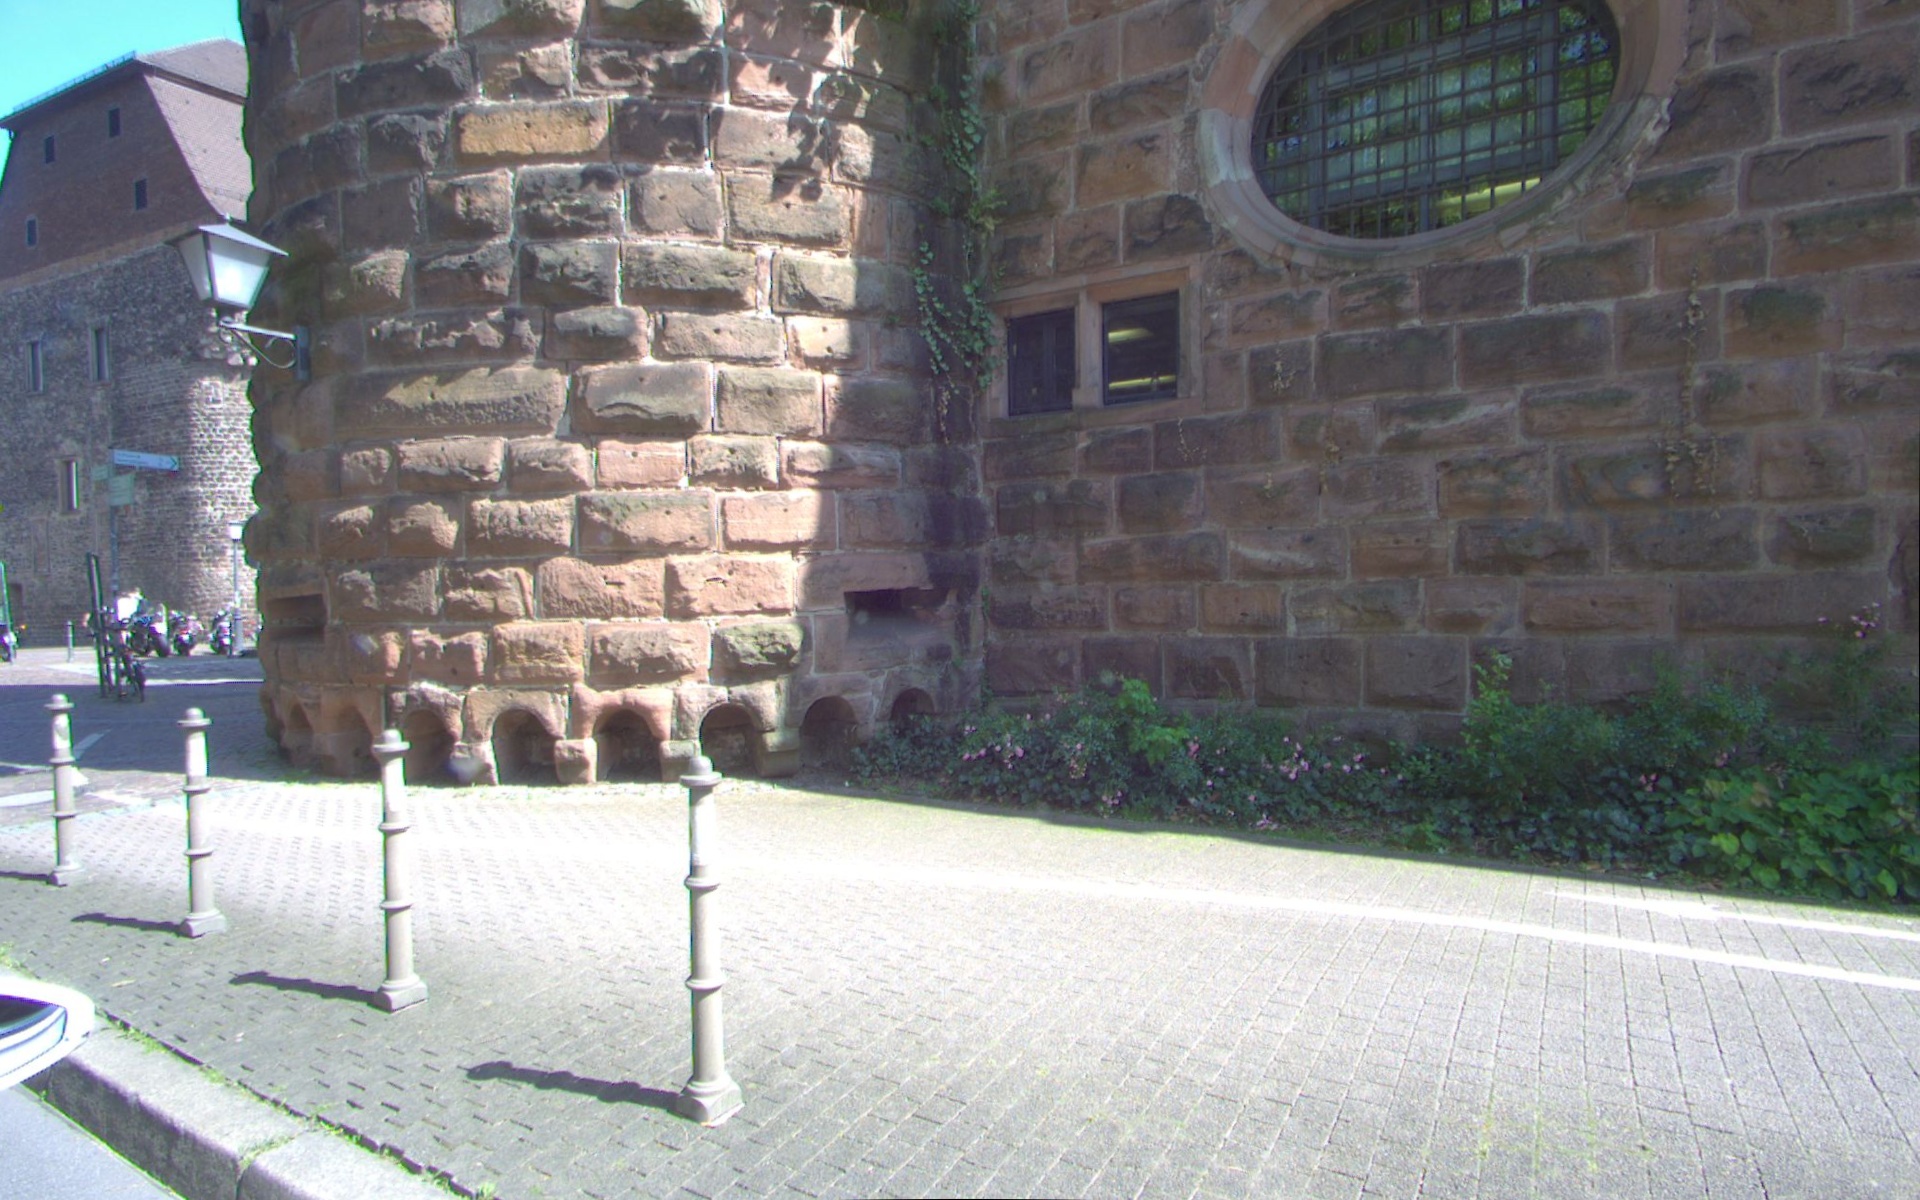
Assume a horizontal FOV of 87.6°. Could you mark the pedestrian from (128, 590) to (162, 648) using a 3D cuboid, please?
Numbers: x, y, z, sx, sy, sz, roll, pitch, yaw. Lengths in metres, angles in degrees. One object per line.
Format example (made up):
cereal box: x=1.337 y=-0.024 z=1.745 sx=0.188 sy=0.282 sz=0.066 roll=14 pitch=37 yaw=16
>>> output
pedestrian: x=-27.618 y=0.648 z=33.942 sx=0.809 sy=1.944 sz=0.667 roll=-1 pitch=-1 yaw=31

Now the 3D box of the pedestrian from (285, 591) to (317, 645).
pedestrian: x=-20.804 y=0.551 z=31.641 sx=0.799 sy=1.684 sz=0.652 roll=-1 pitch=1 yaw=-34

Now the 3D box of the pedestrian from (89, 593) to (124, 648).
pedestrian: x=-28.631 y=0.675 z=33.594 sx=0.835 sy=1.826 sz=0.651 roll=0 pitch=0 yaw=31

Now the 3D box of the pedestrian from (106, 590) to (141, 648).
pedestrian: x=-27.684 y=0.637 z=33.140 sx=0.809 sy=1.908 sz=0.667 roll=-1 pitch=-1 yaw=31

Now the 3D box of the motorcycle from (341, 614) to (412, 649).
motorcycle: x=-18.175 y=0.981 z=31.225 sx=0.474 sy=1.067 sz=1.858 roll=-1 pitch=-2 yaw=40

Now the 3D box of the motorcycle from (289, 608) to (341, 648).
motorcycle: x=-18.095 y=0.796 z=28.074 sx=1.814 sy=1.087 sz=0.506 roll=-1 pitch=-2 yaw=32

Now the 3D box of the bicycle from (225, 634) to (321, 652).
bicycle: x=-17.565 y=1.095 z=25.635 sx=1.916 sy=0.386 sz=0.909 roll=0 pitch=-2 yaw=-44

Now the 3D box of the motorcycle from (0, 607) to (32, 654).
motorcycle: x=-22.194 y=0.687 z=23.054 sx=2.453 sy=1.026 sz=0.565 roll=0 pitch=1 yaw=32

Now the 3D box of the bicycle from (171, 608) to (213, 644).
bicycle: x=-26.547 y=0.901 z=34.609 sx=1.690 sy=1.225 sz=0.388 roll=-1 pitch=-1 yaw=24

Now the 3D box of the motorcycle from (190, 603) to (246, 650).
motorcycle: x=-20.357 y=0.738 z=27.469 sx=2.002 sy=1.251 sz=0.545 roll=-1 pitch=-2 yaw=32

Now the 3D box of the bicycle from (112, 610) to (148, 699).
bicycle: x=-12.007 y=0.757 z=14.473 sx=1.750 sy=1.220 sz=0.192 roll=0 pitch=1 yaw=44

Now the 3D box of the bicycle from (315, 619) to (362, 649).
bicycle: x=-18.380 y=1.000 z=29.615 sx=1.898 sy=0.831 sz=0.353 roll=0 pitch=-1 yaw=32

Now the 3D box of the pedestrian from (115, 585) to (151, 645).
pedestrian: x=-28.505 y=0.538 z=34.514 sx=0.865 sy=2.039 sz=0.729 roll=-1 pitch=-1 yaw=32

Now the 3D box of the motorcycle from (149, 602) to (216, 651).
motorcycle: x=-20.696 y=0.721 z=26.636 sx=2.280 sy=1.251 sz=0.674 roll=-1 pitch=-2 yaw=32

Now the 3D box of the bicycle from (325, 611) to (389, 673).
bicycle: x=-12.004 y=0.808 z=19.914 sx=1.707 sy=1.178 sz=0.445 roll=0 pitch=1 yaw=36

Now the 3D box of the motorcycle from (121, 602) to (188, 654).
motorcycle: x=-20.508 y=0.710 z=25.483 sx=2.169 sy=1.282 sz=0.654 roll=-1 pitch=-1 yaw=32
